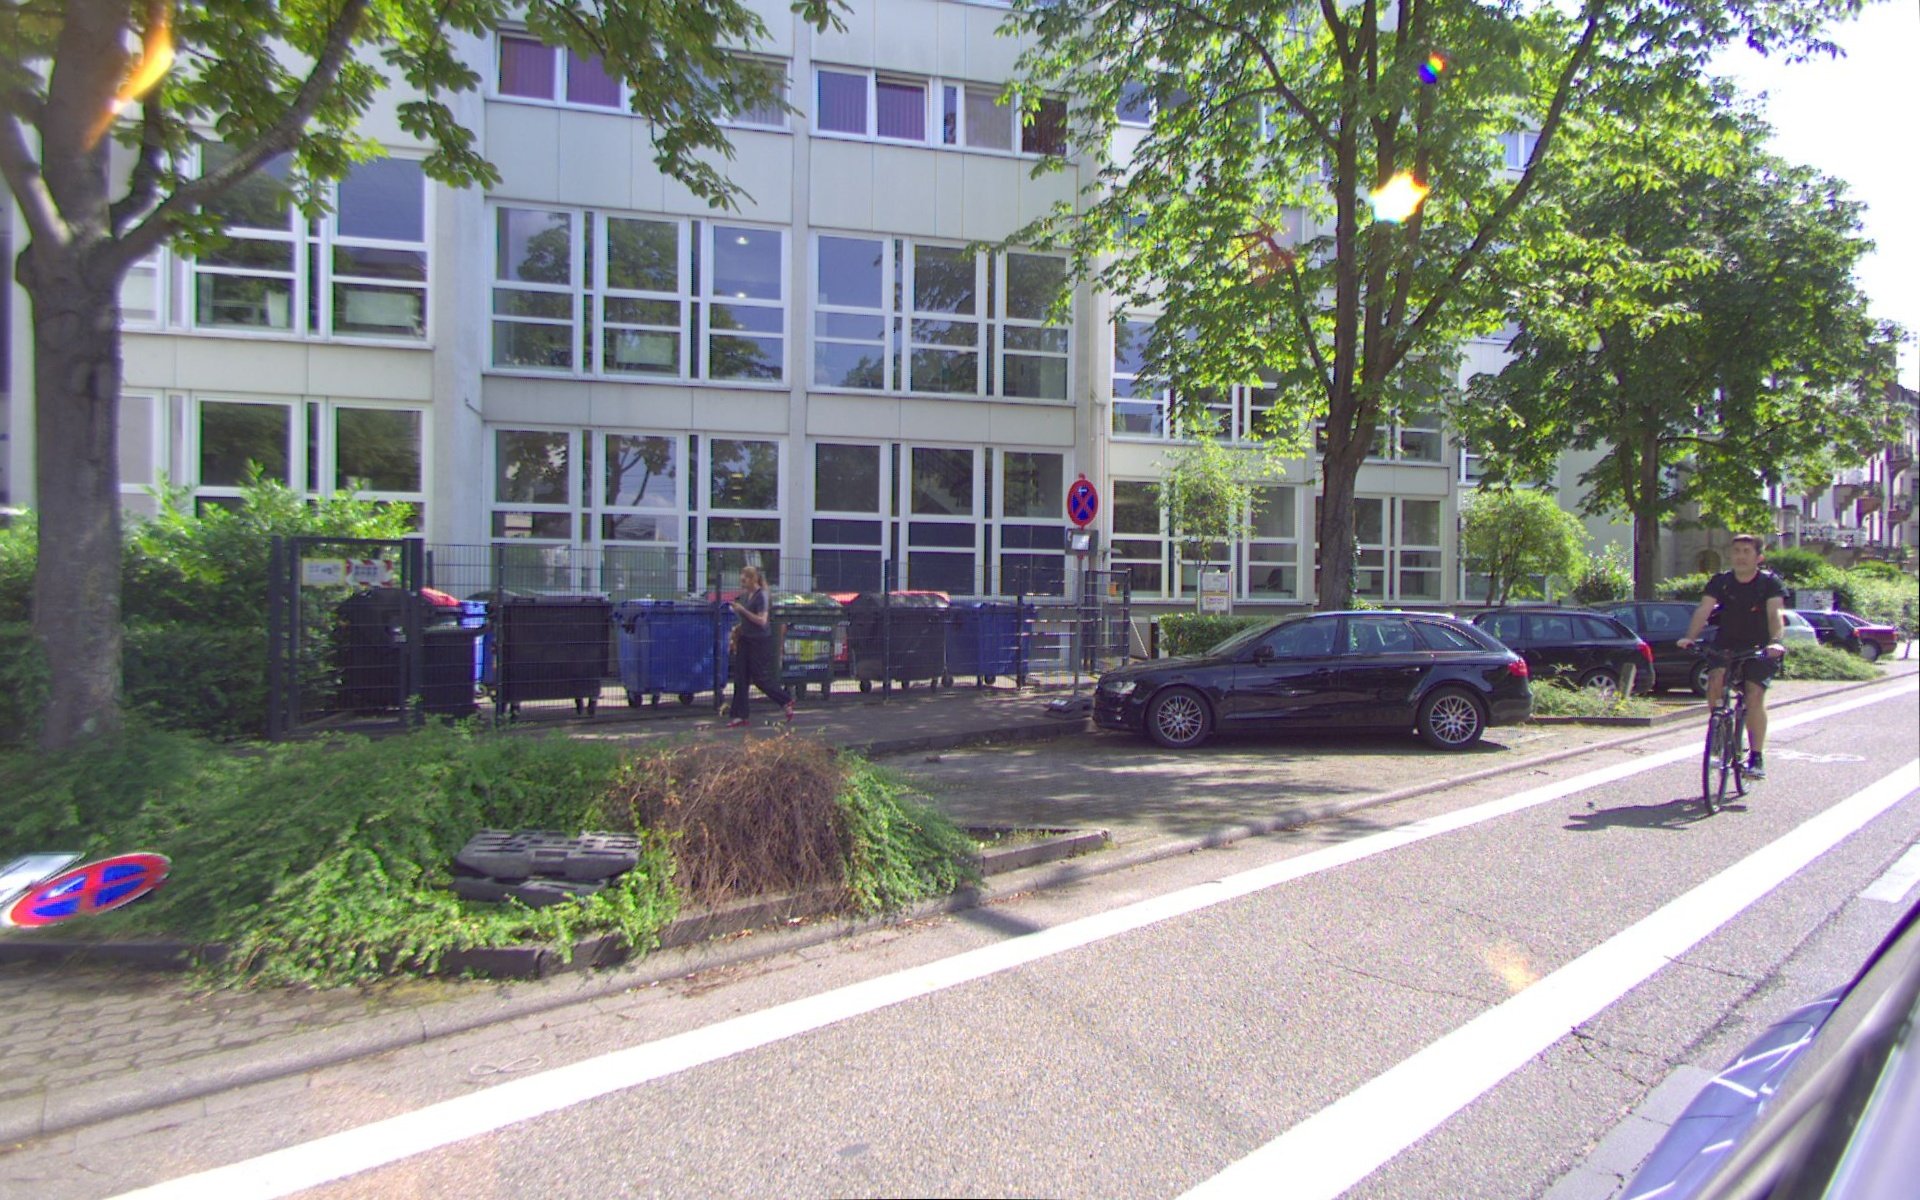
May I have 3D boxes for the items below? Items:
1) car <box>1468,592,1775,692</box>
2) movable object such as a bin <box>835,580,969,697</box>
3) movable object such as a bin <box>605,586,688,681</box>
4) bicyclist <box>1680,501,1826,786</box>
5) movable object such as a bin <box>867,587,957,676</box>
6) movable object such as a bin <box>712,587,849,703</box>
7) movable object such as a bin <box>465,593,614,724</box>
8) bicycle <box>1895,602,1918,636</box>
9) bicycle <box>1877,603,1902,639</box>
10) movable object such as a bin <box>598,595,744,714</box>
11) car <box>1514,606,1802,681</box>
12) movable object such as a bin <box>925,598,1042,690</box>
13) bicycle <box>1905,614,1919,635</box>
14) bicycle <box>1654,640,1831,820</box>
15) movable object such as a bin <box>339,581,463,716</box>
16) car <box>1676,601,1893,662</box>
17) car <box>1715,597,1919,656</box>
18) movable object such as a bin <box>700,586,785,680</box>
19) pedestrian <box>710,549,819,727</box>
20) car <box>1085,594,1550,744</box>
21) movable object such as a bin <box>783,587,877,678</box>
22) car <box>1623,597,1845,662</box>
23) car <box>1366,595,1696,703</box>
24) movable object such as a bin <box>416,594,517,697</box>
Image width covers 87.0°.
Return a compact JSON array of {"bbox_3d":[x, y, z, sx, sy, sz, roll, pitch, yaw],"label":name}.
[{"bbox_3d":[11.219,0.697,17.456,3.934,1.595,1.900,-1,-1,9],"label":"car"},{"bbox_3d":[-0.829,0.512,14.478,1.443,1.558,1.277,0,0,-39],"label":"movable object such as a bin"},{"bbox_3d":[-5.205,0.532,16.823,1.237,1.465,1.383,1,2,-18],"label":"movable object such as a bin"},{"bbox_3d":[5.969,0.299,7.604,1.110,1.973,0.608,0,-1,-40],"label":"bicyclist"},{"bbox_3d":[-0.862,0.528,17.834,1.237,1.465,1.383,1,2,-18],"label":"movable object such as a bin"},{"bbox_3d":[-2.410,0.589,13.617,1.274,1.456,1.331,-2,-3,43],"label":"movable object such as a bin"},{"bbox_3d":[-4.741,0.616,11.381,1.215,1.353,1.277,0,-1,-41],"label":"movable object such as a bin"},{"bbox_3d":[33.561,0.663,35.888,1.975,1.122,0.280,0,4,-40],"label":"bicycle"},{"bbox_3d":[30.915,0.686,33.664,1.975,1.122,0.280,0,4,-40],"label":"bicycle"},{"bbox_3d":[-3.594,0.635,12.561,1.335,1.353,1.277,0,-1,-41],"label":"movable object such as a bin"},{"bbox_3d":[13.279,0.807,19.497,4.103,1.366,1.902,0,-1,6],"label":"car"},{"bbox_3d":[0.359,0.636,15.635,1.302,1.335,1.277,0,0,-39],"label":"movable object such as a bin"},{"bbox_3d":[34.996,0.890,37.096,1.531,0.685,0.280,0,4,-40],"label":"bicycle"},{"bbox_3d":[5.891,0.904,7.585,1.803,1.057,0.617,-2,5,-40],"label":"bicycle"},{"bbox_3d":[-6.531,0.551,11.915,0.918,1.500,1.270,1,-1,-12],"label":"movable object such as a bin"},{"bbox_3d":[20.919,0.774,25.831,3.933,1.467,1.695,0,0,9],"label":"car"},{"bbox_3d":[23.454,0.695,27.652,4.091,1.441,1.862,1,1,9],"label":"car"},{"bbox_3d":[-3.702,0.534,17.143,1.237,1.465,1.383,1,2,-18],"label":"movable object such as a bin"},{"bbox_3d":[-2.199,0.398,11.362,0.983,1.897,0.763,0,0,-34],"label":"pedestrian"},{"bbox_3d":[3.681,0.721,11.245,4.457,1.460,2.028,-1,-1,6],"label":"car"},{"bbox_3d":[-2.254,0.535,17.377,1.422,1.474,1.212,-1,0,-16],"label":"movable object such as a bin"},{"bbox_3d":[18.190,0.666,23.916,3.930,1.479,1.533,0,0,6],"label":"car"},{"bbox_3d":[8.557,0.716,15.480,4.006,1.462,1.722,1,-2,7],"label":"car"},{"bbox_3d":[-7.049,0.628,14.537,1.237,1.355,1.216,1,2,-24],"label":"movable object such as a bin"}]
